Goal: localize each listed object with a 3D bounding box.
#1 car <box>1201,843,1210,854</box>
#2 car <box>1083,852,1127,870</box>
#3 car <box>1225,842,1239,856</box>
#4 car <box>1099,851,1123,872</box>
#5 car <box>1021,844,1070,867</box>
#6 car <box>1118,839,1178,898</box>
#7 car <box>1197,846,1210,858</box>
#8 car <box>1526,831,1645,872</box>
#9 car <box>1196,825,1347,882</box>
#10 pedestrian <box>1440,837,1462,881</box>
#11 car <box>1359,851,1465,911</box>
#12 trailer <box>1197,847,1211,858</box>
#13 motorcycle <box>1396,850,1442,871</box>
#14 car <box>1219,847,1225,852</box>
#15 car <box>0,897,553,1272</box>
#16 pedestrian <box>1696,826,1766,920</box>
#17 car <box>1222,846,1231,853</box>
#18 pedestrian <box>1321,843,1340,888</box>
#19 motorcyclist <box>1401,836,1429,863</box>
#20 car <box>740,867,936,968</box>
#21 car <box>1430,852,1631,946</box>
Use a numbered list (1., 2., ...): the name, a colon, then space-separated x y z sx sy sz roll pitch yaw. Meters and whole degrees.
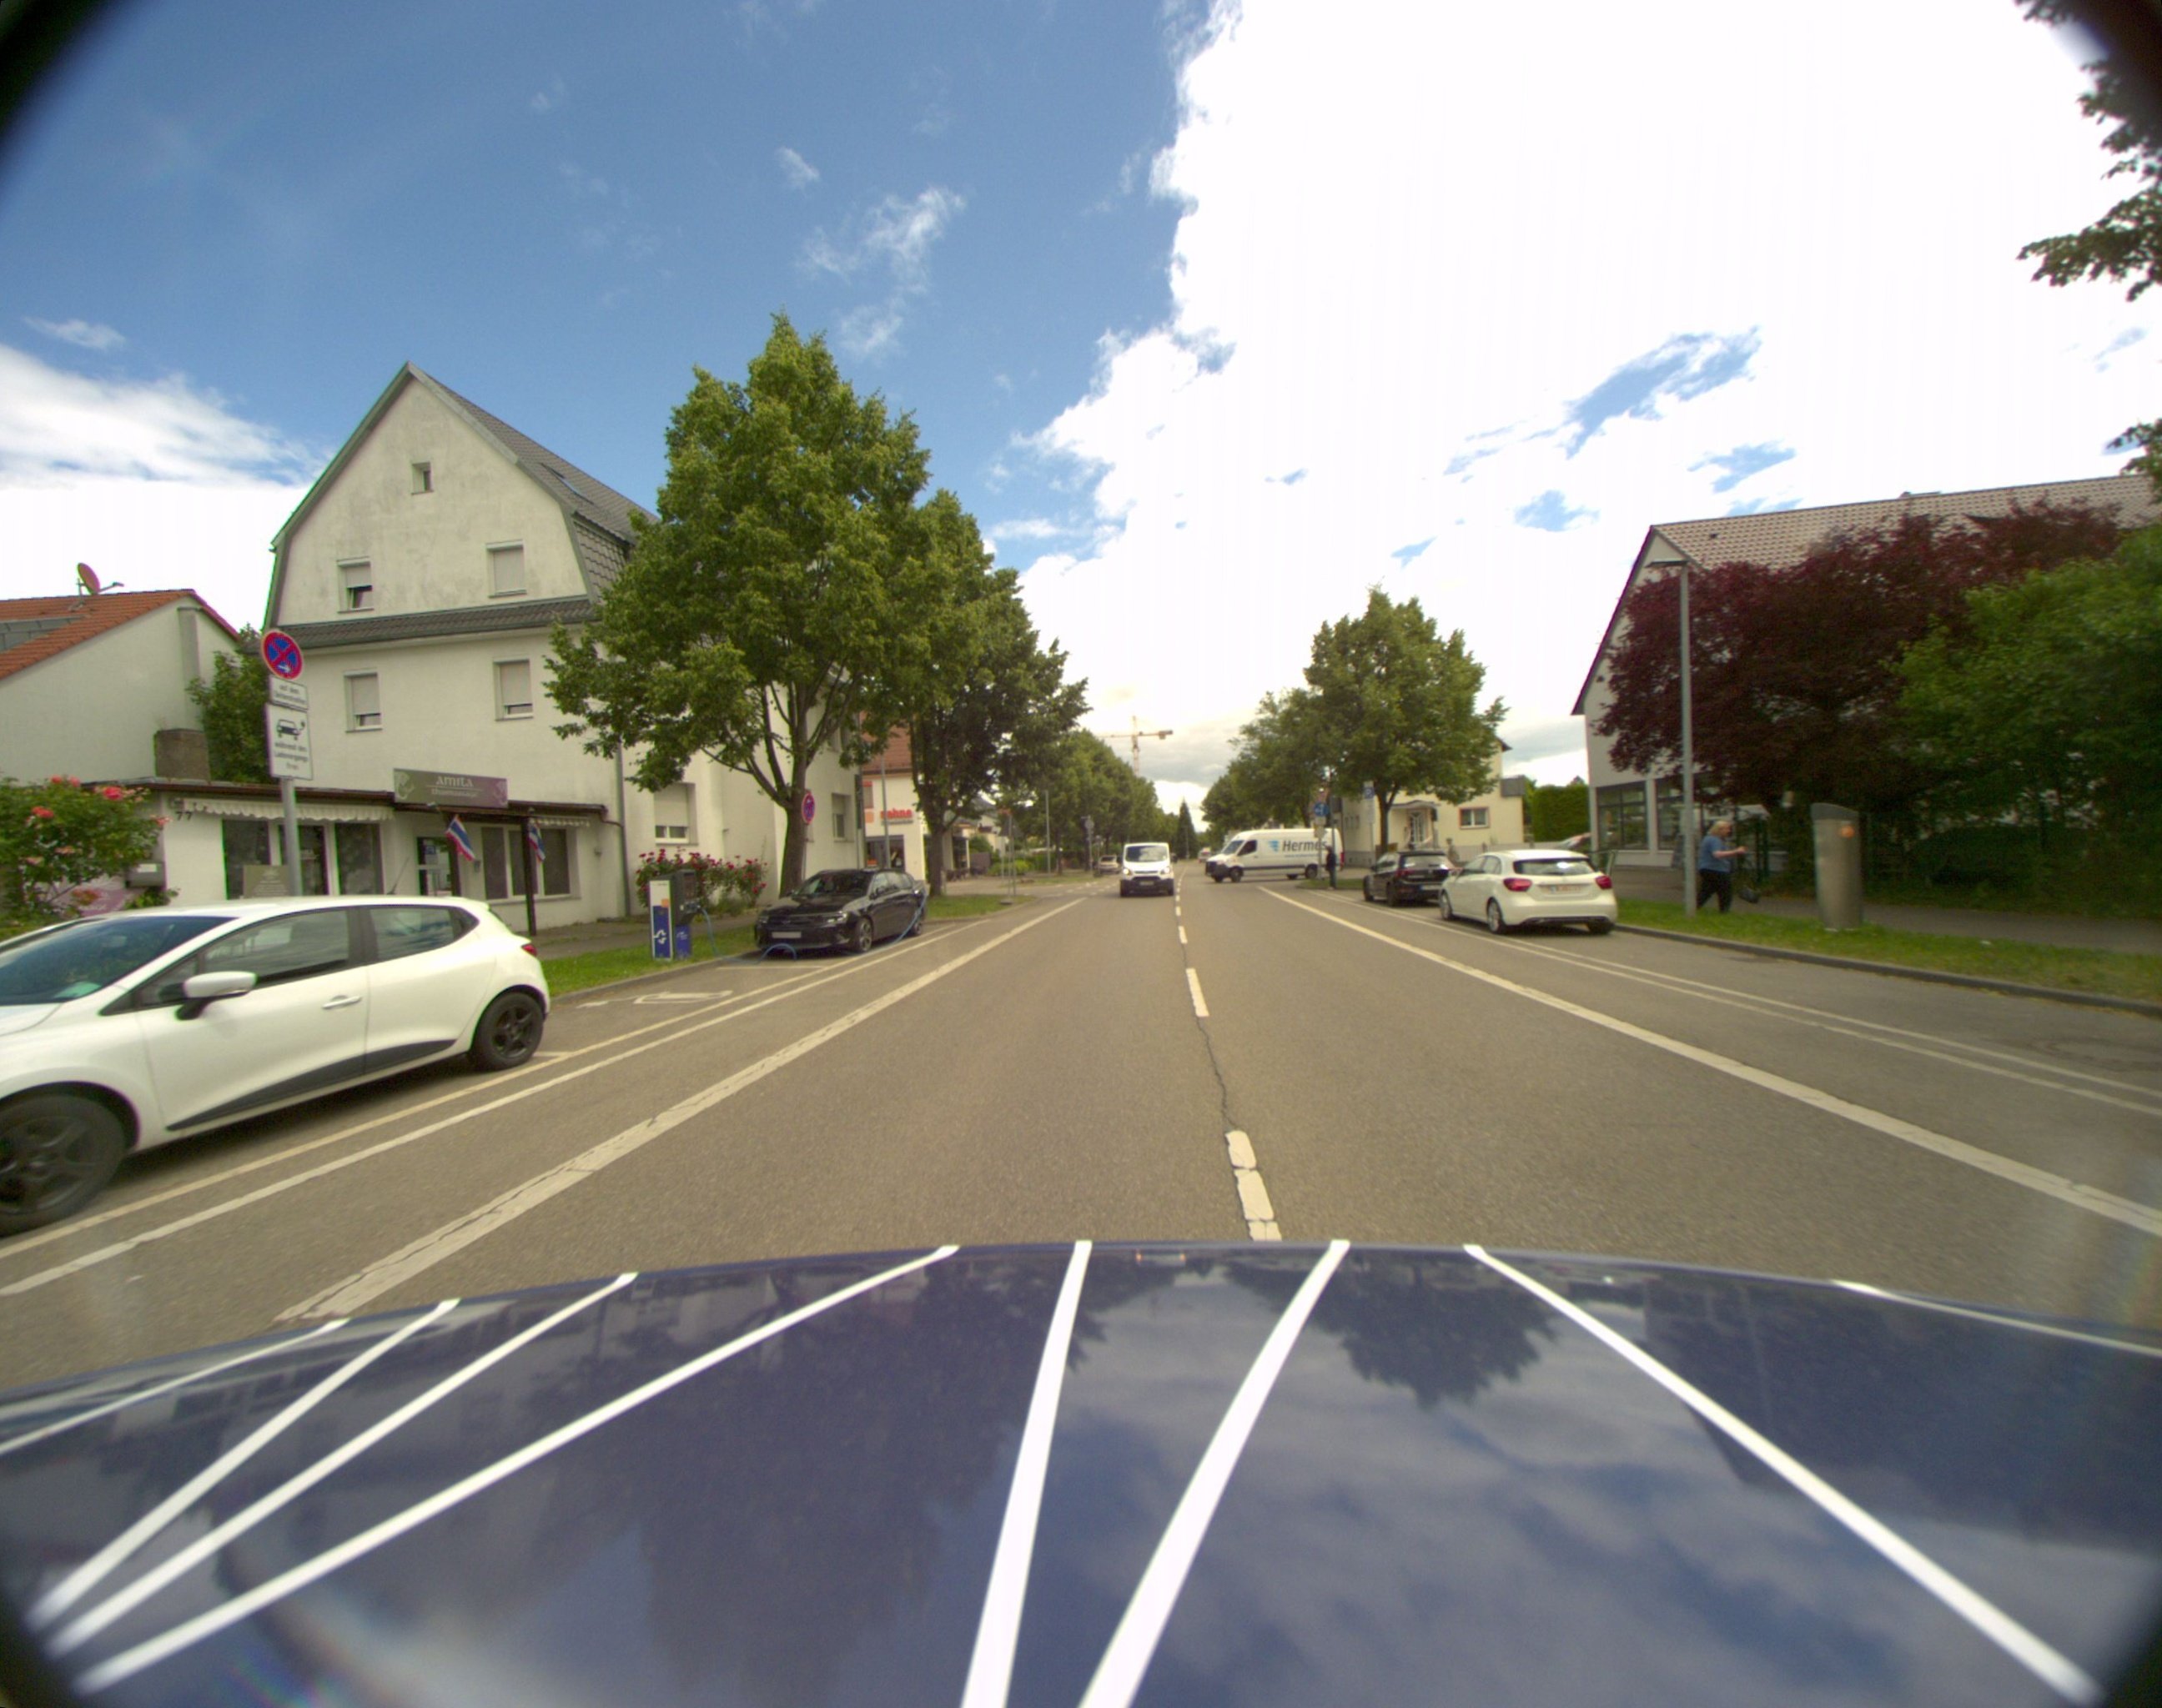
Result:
1. car: 31.019 -1.310 188.899 2.022 2.658 5.810 -2 0 10
2. car: 2.374 0.699 74.885 4.227 1.628 1.693 -1 0 3
3. car: 21.085 -0.703 106.342 1.773 1.760 4.554 -2 0 10
4. car: 2.517 0.582 63.087 1.725 1.571 4.062 -2 0 6
5. car: -4.399 0.201 93.467 5.726 2.576 1.998 -2 0 4
6. car: 2.652 0.518 29.378 1.997 2.002 5.052 -3 0 6
7. car: 20.013 -0.361 124.156 1.970 1.820 4.821 -2 0 8
8. car: 24.020 -0.161 36.300 4.357 1.768 1.872 -2 2 4
9. car: 9.844 -0.059 39.313 7.316 2.579 2.217 -2 0 -15
10. pedestrian: 13.161 0.178 27.058 0.431 1.543 0.806 -3 1 8
11. car: 8.766 0.656 20.444 1.646 1.412 4.023 -1 0 9
12. trailer: 19.361 -0.221 119.459 1.942 1.667 4.691 -2 0 8
13. motorcycle: 17.686 0.356 39.806 2.117 1.025 0.481 -2 1 6
14. car: 42.176 -1.438 227.171 1.664 1.466 3.749 -3 0 8
15. car: -5.500 1.128 4.491 1.676 1.454 4.001 -2 0 5
16. pedestrian: 10.947 0.312 12.807 0.584 1.520 0.697 -3 1 -28
17. car: 34.964 -1.045 182.531 1.750 1.626 4.050 -3 0 9
18. pedestrian: 9.426 0.440 28.709 0.543 1.671 0.751 -4 -1 16
19. motorcyclist: 17.490 -0.243 39.801 1.108 1.357 0.754 -2 1 6
20. car: -4.292 1.058 14.318 1.709 1.446 4.618 -2 0 7
21. car: 7.954 0.699 13.946 1.717 1.398 4.303 -2 0 9
